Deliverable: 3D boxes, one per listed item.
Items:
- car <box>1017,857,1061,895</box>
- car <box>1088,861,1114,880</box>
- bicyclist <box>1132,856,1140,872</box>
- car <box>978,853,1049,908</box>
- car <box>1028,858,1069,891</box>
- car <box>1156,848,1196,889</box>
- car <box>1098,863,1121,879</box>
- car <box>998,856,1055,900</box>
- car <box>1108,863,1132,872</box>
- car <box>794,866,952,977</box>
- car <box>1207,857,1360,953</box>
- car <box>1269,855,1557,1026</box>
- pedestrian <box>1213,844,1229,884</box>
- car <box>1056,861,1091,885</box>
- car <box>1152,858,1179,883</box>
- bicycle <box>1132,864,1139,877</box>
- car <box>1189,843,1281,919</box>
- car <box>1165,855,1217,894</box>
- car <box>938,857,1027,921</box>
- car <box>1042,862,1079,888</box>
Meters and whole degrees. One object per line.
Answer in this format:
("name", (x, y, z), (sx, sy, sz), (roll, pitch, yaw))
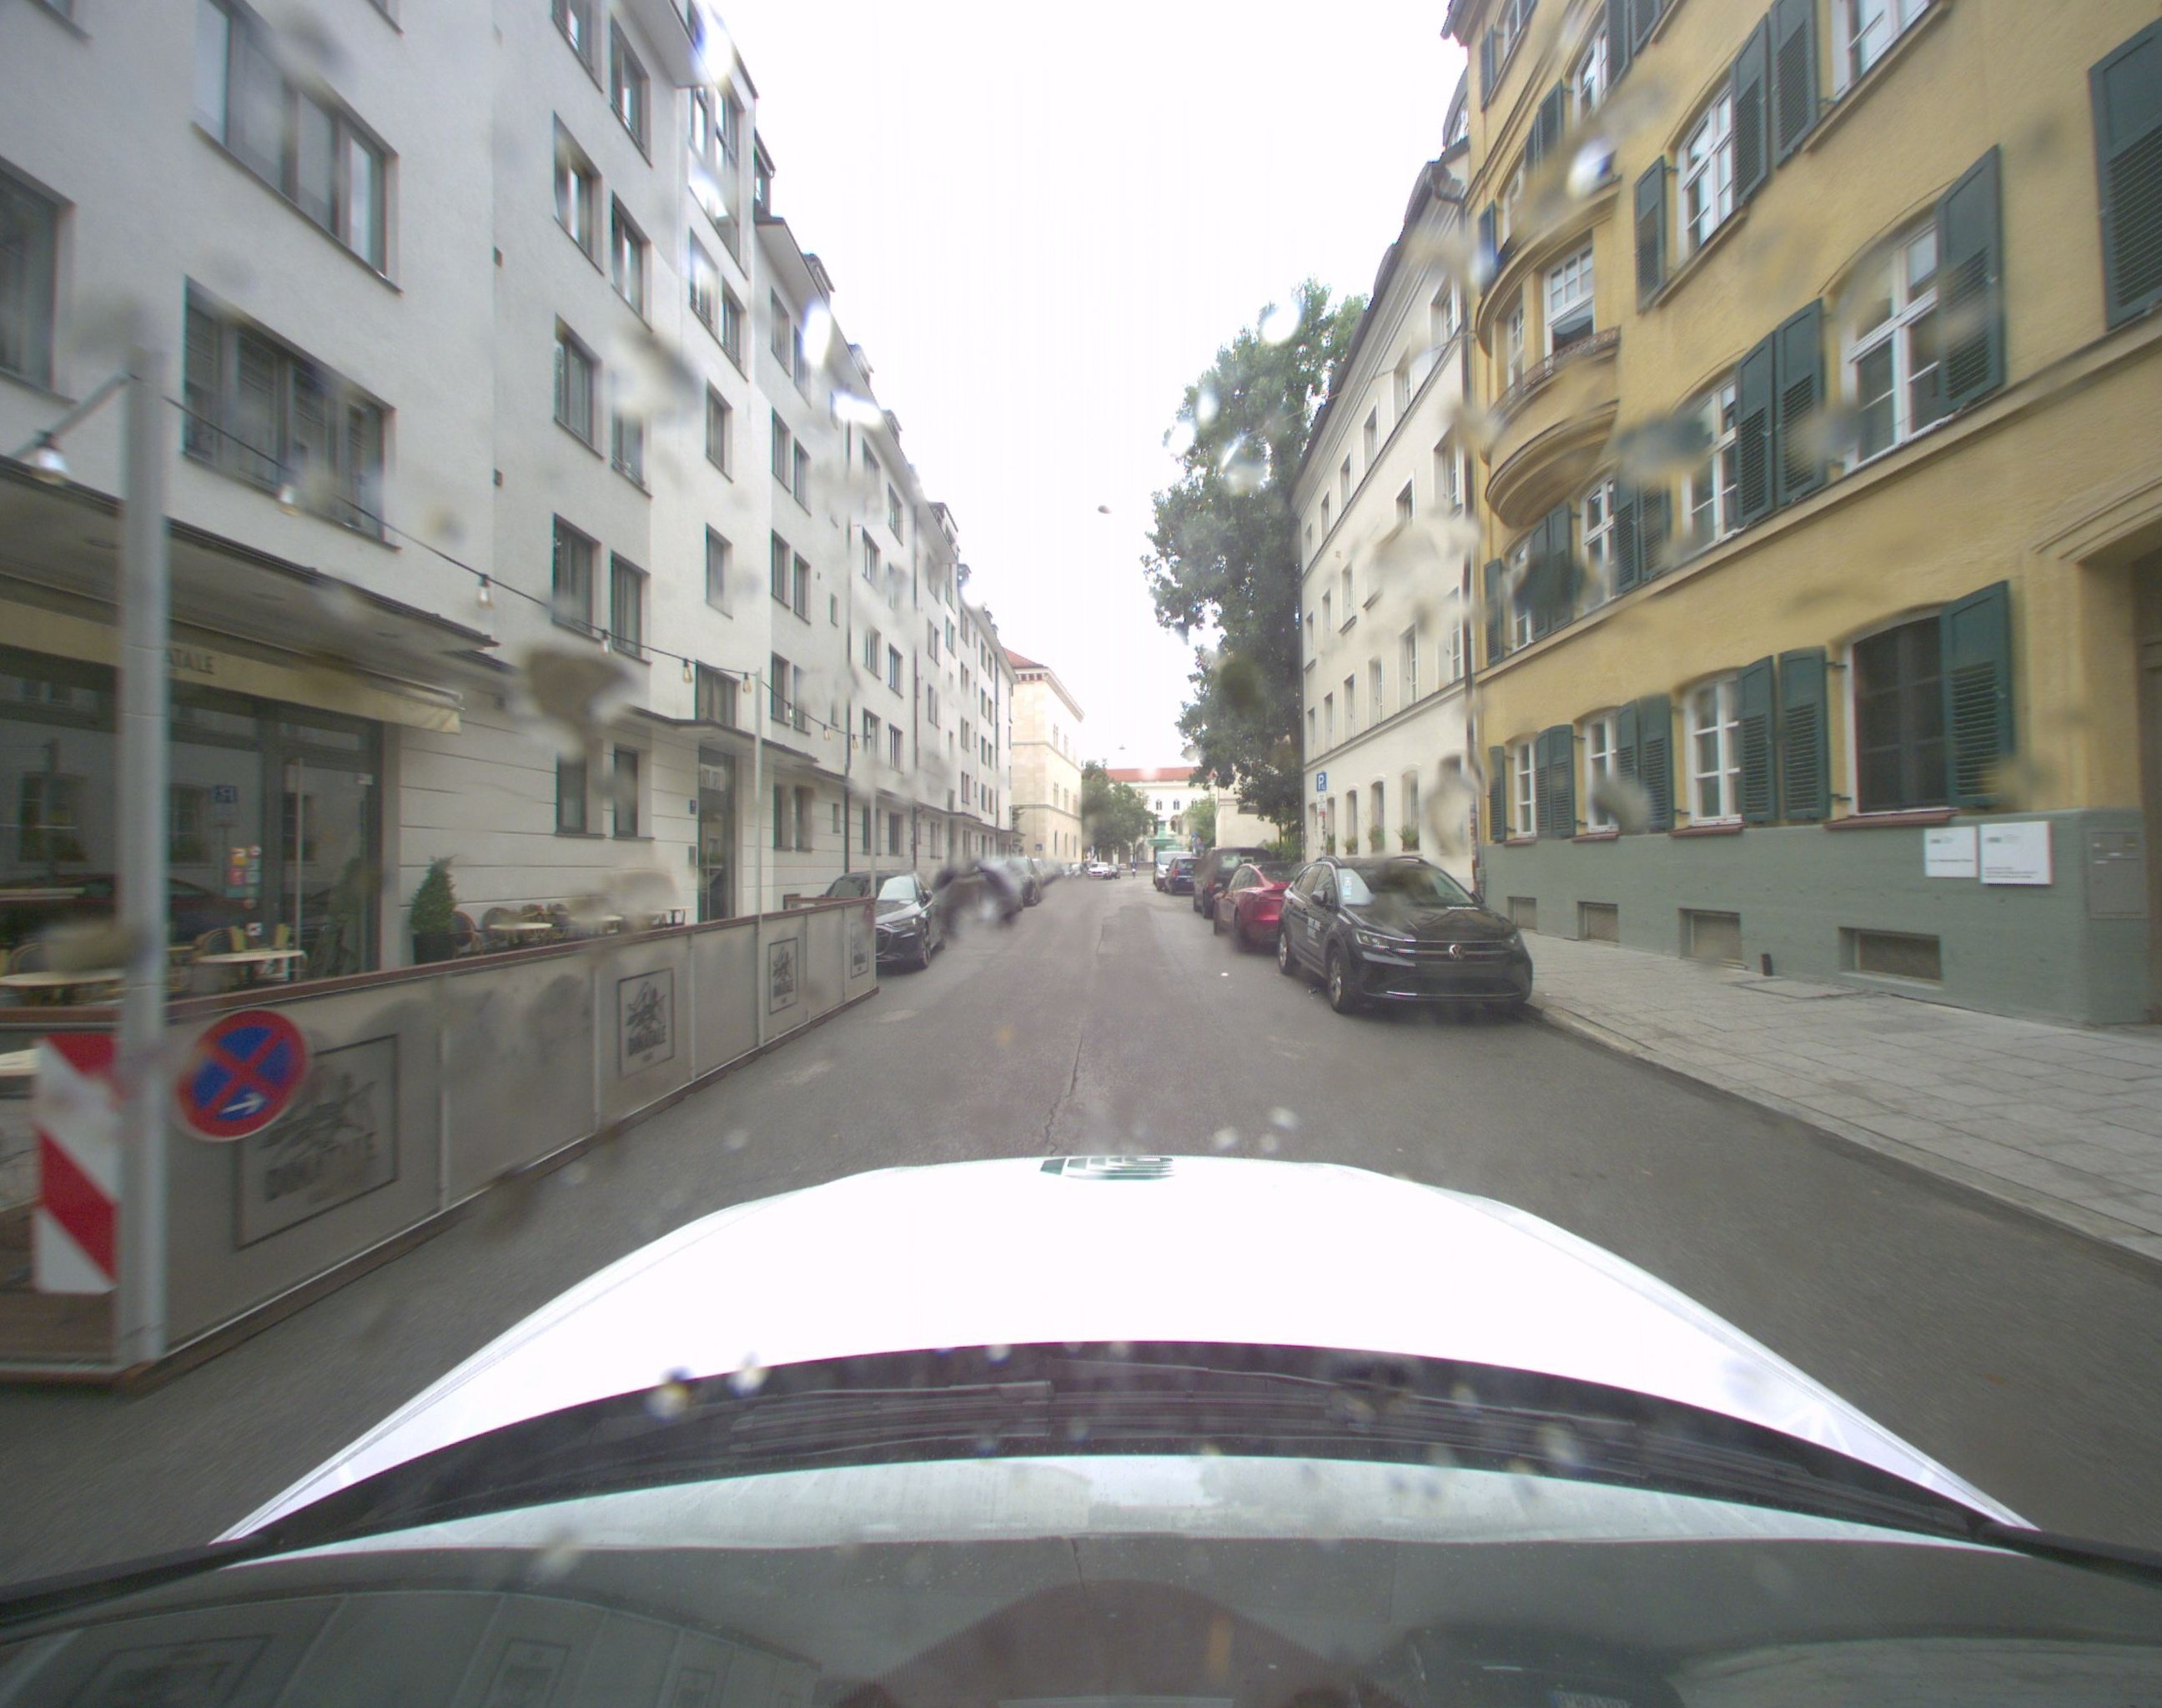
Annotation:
("car", (-2.004, 1.032, 39.928), (1.866, 1.658, 4.590), (-2, 0, 0))
("car", (1.753, 1.469, 70.880), (1.769, 1.535, 4.219), (-2, -2, 7))
("bicyclist", (5.156, 0.942, 76.583), (0.654, 1.551, 0.889), (-1, -1, 5))
("car", (-2.267, 0.860, 28.525), (1.865, 1.688, 4.523), (-2, 0, 2))
("car", (-1.765, 1.103, 45.553), (1.865, 1.658, 4.083), (-2, 0, 3))
("car", (4.768, 0.719, 41.365), (1.873, 1.924, 4.881), (-1, -1, 5))
("car", (2.761, 1.644, 77.207), (1.689, 1.393, 4.221), (-2, -2, 8))
("car", (-2.200, 0.936, 34.025), (1.865, 1.658, 4.593), (-2, 0, 2))
("car", (6.760, 2.296, 139.678), (3.966, 1.376, 2.004), (-1, -1, 6))
("car", (-3.074, 0.929, 12.846), (1.635, 1.354, 4.053), (-2, 0, -4))
("car", (3.387, 0.796, 14.446), (1.707, 1.424, 4.459), (-1, -1, 2))
("car", (3.347, 0.763, 9.091), (1.738, 1.464, 4.003), (-1, 0, 3))
("pedestrian", (7.806, 0.569, 45.440), (0.790, 2.197, 0.814), (0, -1, 2))
("car", (-0.465, 1.270, 55.695), (1.740, 1.453, 4.025), (-2, 0, 8))
("car", (5.586, 1.065, 53.882), (1.738, 1.594, 3.962), (0, -1, 6))
("bicycle", (5.110, 1.531, 76.357), (0.645, 1.197, 1.953), (-1, -1, 5))
("car", (3.952, 0.673, 21.477), (1.838, 1.776, 4.204), (1, -1, 3))
("car", (4.702, 0.856, 35.368), (1.801, 1.600, 4.216), (0, -1, 1))
("car", (-2.654, 0.898, 22.839), (1.766, 1.539, 4.161), (-2, 0, 2))
("car", (-1.241, 1.259, 50.988), (1.742, 1.453, 4.022), (-2, 0, 6))
